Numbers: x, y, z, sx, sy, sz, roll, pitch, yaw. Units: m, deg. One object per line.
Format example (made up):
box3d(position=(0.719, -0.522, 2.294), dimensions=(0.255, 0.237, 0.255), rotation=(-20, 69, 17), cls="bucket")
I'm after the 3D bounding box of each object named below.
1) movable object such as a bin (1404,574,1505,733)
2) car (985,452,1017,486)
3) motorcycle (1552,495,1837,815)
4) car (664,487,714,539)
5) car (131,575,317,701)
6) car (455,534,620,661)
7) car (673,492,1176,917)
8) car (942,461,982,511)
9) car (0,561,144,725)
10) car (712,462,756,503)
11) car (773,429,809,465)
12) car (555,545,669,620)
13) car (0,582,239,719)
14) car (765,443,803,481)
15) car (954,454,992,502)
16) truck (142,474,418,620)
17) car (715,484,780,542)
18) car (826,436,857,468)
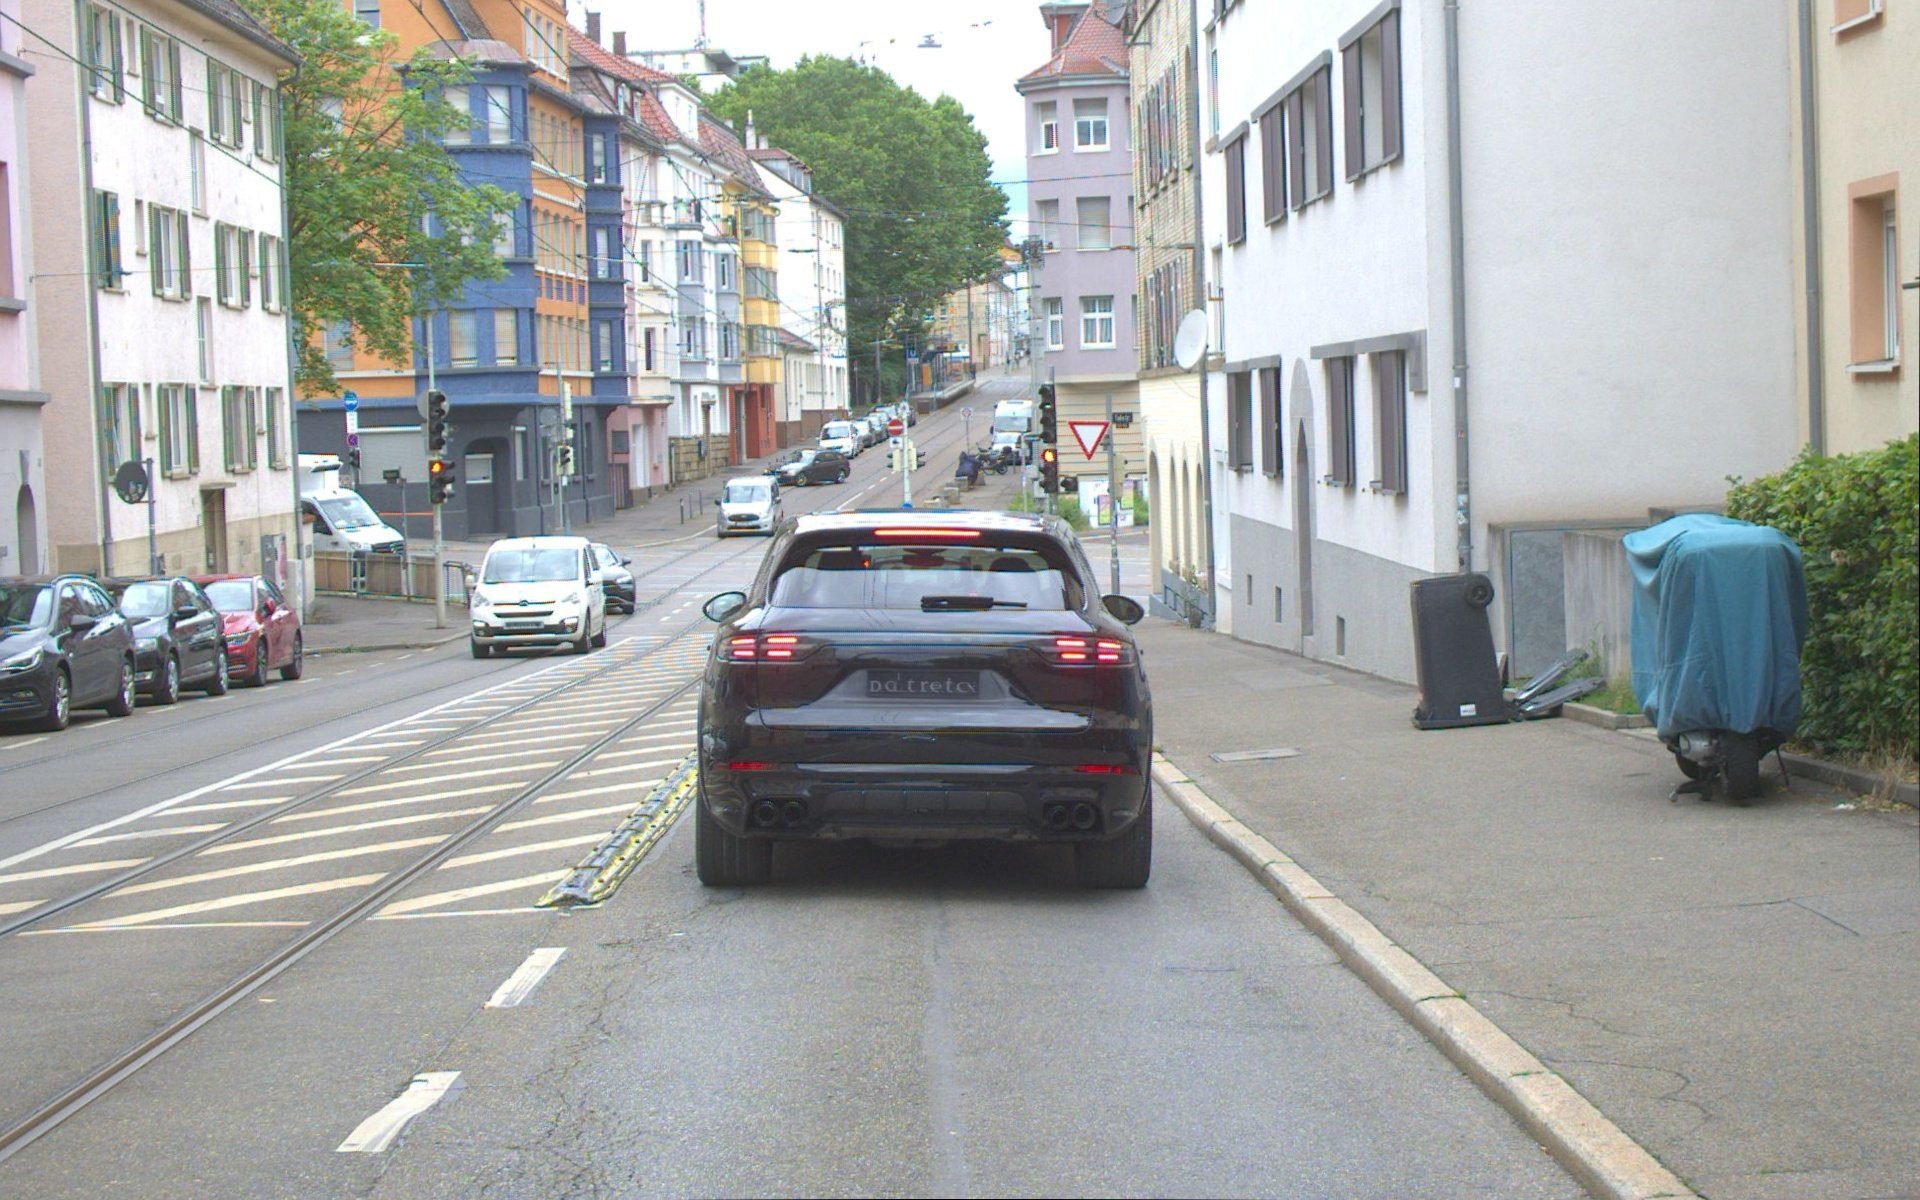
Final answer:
box3d(position=(3.438, 0.365, 23.931), dimensions=(0.588, 1.076, 0.691), rotation=(-2, 1, 1), cls="movable object such as a bin")
box3d(position=(1.867, -5.982, 157.174), dimensions=(1.394, 1.445, 3.359), rotation=(-2, 1, 0), cls="car")
box3d(position=(3.607, 0.240, 17.130), dimensions=(0.838, 1.451, 2.553), rotation=(-2, 1, 0), cls="motorcycle")
box3d(position=(-9.310, -2.987, 118.414), dimensions=(1.394, 1.716, 3.359), rotation=(-2, 1, 0), cls="car")
box3d(position=(-9.520, 0.472, 44.743), dimensions=(1.620, 1.485, 4.047), rotation=(-3, 0, -2), cls="car")
box3d(position=(-6.413, -0.063, 52.609), dimensions=(1.921, 1.812, 4.217), rotation=(-2, 1, 1), cls="car")
box3d(position=(-0.176, 0.402, 15.985), dimensions=(1.993, 1.670, 4.000), rotation=(-2, 1, -1), cls="car")
box3d(position=(0.074, -4.121, 124.809), dimensions=(1.394, 1.716, 3.359), rotation=(-2, 1, 0), cls="car")
box3d(position=(-9.233, 0.419, 33.383), dimensions=(1.620, 1.468, 4.556), rotation=(-3, 0, -2), cls="car")
box3d(position=(-8.626, -4.461, 131.266), dimensions=(1.394, 1.445, 3.359), rotation=(-2, 1, 0), cls="car")
box3d(position=(-7.492, -6.779, 152.393), dimensions=(1.394, 1.445, 3.359), rotation=(-2, 1, 0), cls="car")
box3d(position=(-7.046, -0.368, 70.002), dimensions=(1.921, 1.419, 4.498), rotation=(-2, 1, -1), cls="car")
box3d(position=(-9.515, 0.532, 39.198), dimensions=(1.736, 1.405, 4.000), rotation=(-2, 1, 0), cls="car")
box3d(position=(-7.469, -5.853, 146.104), dimensions=(1.394, 1.445, 3.359), rotation=(-2, 1, 0), cls="car")
box3d(position=(0.499, -4.666, 131.686), dimensions=(1.394, 1.716, 3.359), rotation=(-2, 1, 0), cls="car")
box3d(position=(-16.764, -1.295, 84.688), dimensions=(6.388, 3.359, 2.344), rotation=(-1, 1, 24), cls="truck")
box3d(position=(-6.741, -2.748, 109.452), dimensions=(1.751, 1.754, 4.254), rotation=(-2, 1, 0), cls="car")
box3d(position=(-5.829, -7.288, 169.141), dimensions=(1.394, 1.445, 3.359), rotation=(-2, 1, 0), cls="car")
